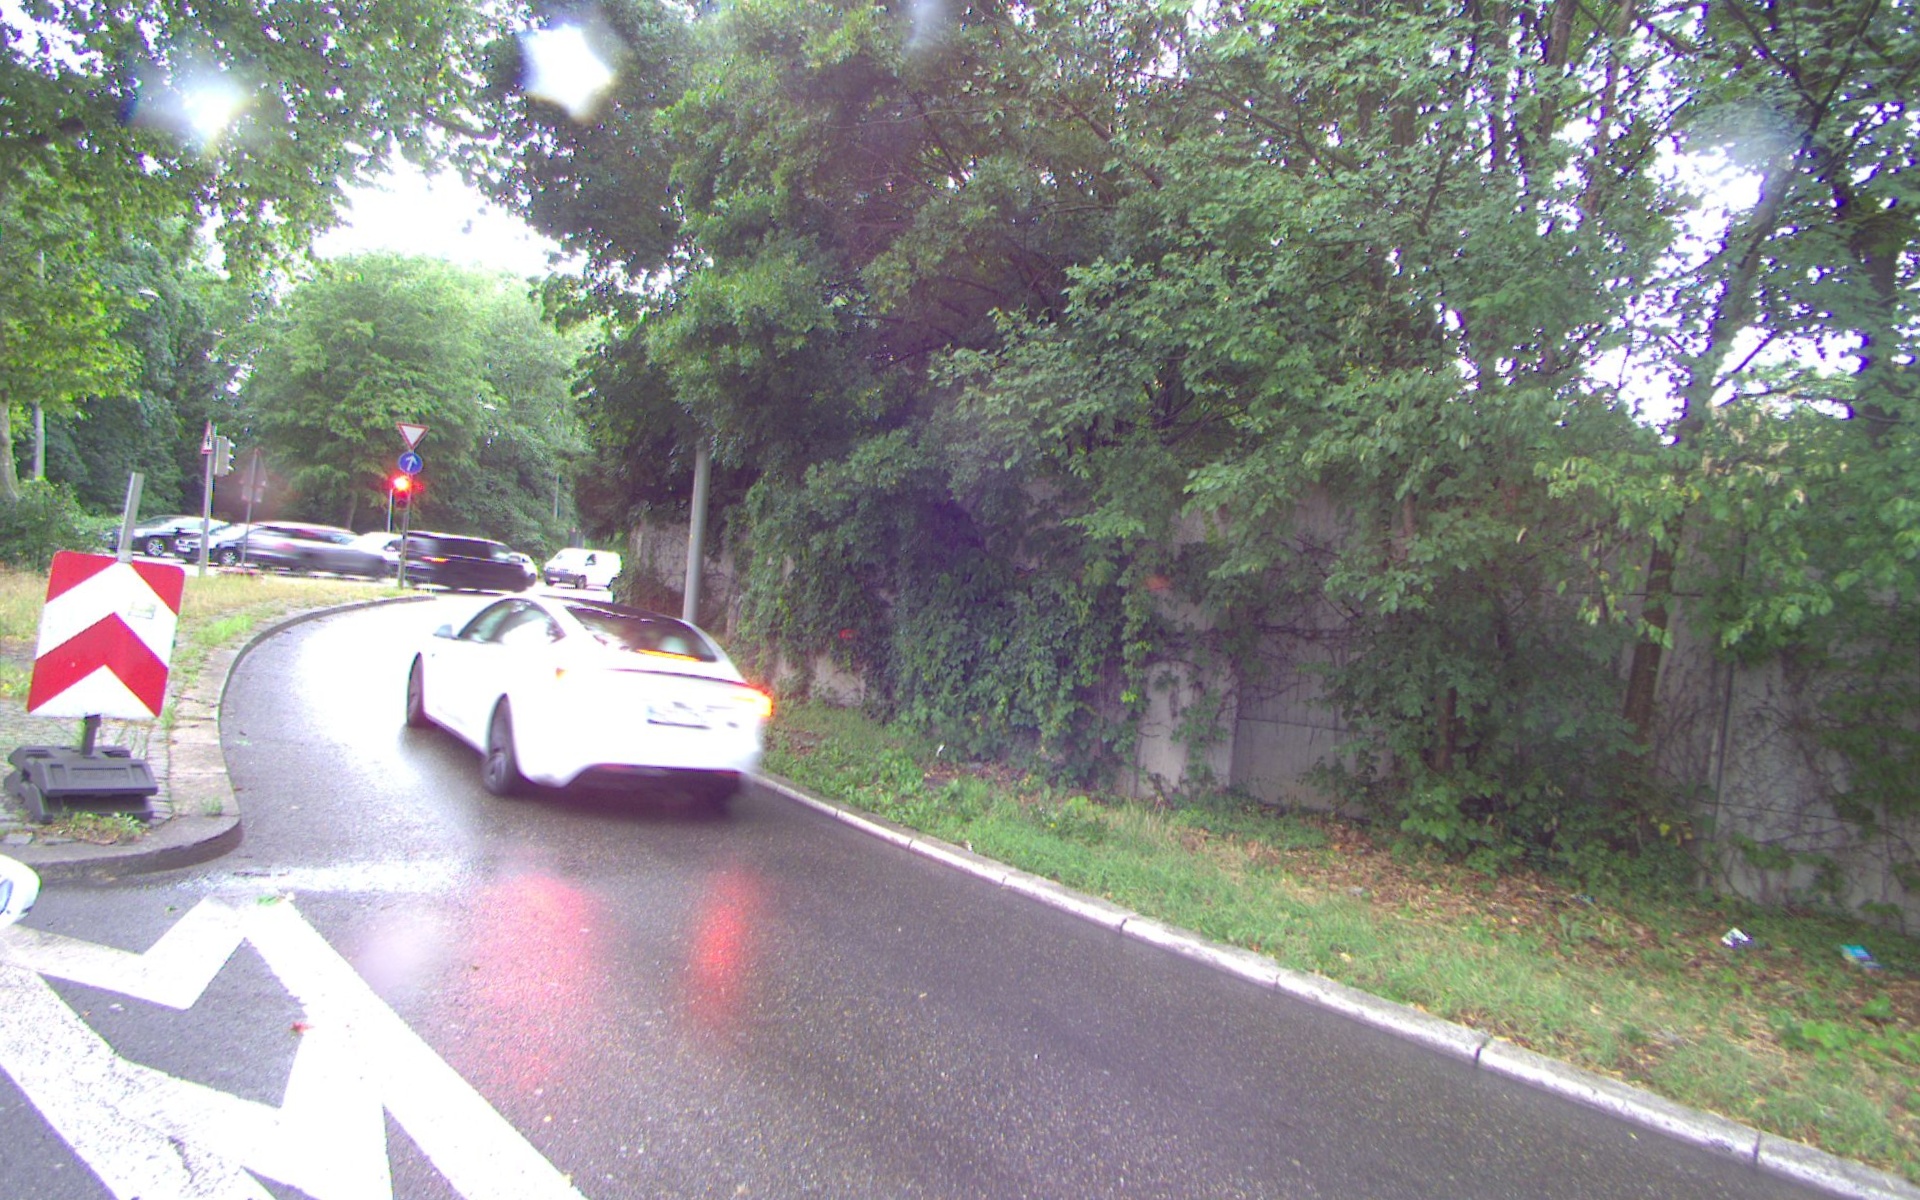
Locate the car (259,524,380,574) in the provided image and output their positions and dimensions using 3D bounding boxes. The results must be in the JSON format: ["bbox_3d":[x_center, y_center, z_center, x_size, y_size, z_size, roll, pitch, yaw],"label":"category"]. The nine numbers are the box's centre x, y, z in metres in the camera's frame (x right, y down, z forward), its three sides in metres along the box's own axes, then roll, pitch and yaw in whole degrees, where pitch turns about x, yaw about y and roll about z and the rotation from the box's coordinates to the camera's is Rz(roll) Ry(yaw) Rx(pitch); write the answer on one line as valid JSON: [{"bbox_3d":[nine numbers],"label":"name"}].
[{"bbox_3d":[-25.001,-1.955,39.414,1.712,1.504,3.837,6,0,12],"label":"car"}]

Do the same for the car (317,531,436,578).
[{"bbox_3d":[-22.080,-1.684,38.279,1.740,1.506,4.271,5,1,4],"label":"car"}]

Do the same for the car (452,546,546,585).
[{"bbox_3d":[-20.647,-1.509,45.253,1.740,1.506,3.998,5,2,12],"label":"car"}]

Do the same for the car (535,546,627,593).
[{"bbox_3d":[-19.086,-1.503,50.879,1.872,1.946,4.862,6,0,12],"label":"car"}]

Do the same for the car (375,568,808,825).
[{"bbox_3d":[-3.293,0.680,8.444,1.831,1.447,4.224,12,-5,-41],"label":"car"}]

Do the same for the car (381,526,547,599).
[{"bbox_3d":[-16.662,-1.198,34.173,1.962,1.868,5.094,6,-1,17],"label":"car"}]

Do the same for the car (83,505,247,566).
[{"bbox_3d":[-26.747,-2.137,34.035,1.843,1.504,4.002,6,-1,12],"label":"car"}]

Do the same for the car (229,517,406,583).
[{"bbox_3d":[-20.461,-1.538,32.287,1.846,1.659,4.522,6,1,19],"label":"car"}]

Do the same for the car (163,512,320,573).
[{"bbox_3d":[-23.211,-1.809,32.664,1.641,1.503,3.867,6,-1,17],"label":"car"}]
